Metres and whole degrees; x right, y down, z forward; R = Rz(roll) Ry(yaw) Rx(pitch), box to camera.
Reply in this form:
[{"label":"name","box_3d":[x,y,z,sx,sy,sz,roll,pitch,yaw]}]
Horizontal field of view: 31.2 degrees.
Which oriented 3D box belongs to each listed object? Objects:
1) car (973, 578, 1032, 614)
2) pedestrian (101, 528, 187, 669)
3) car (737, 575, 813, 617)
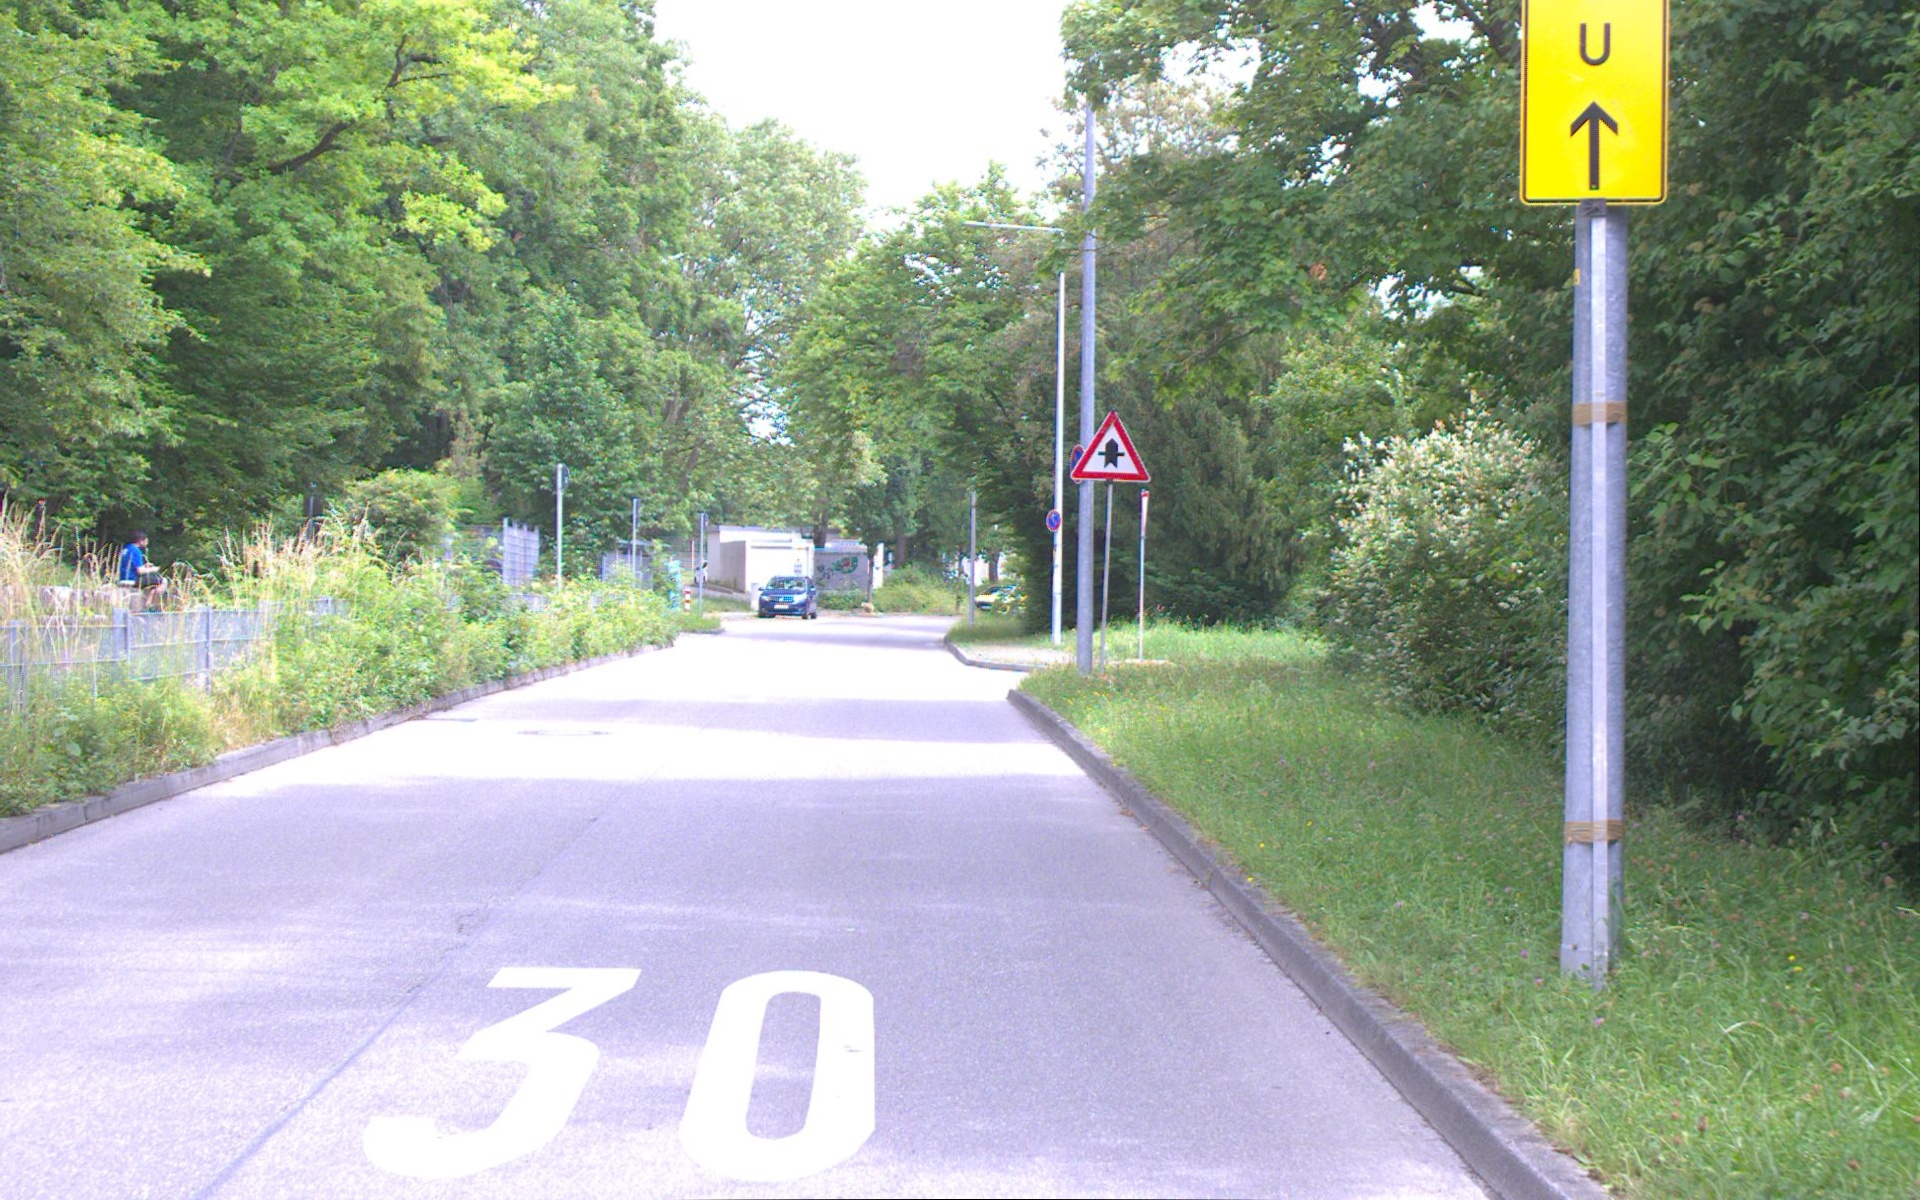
[{"label":"car","box_3d":[1.954,-0.172,157.783,1.861,1.487,3.997,-2,-2,13]},{"label":"pedestrian","box_3d":[-11.862,-0.008,49.965,0.877,2.007,0.865,-3,-3,45]},{"label":"car","box_3d":[-6.457,-0.149,120.307,1.979,1.379,3.999,2,1,6]}]
